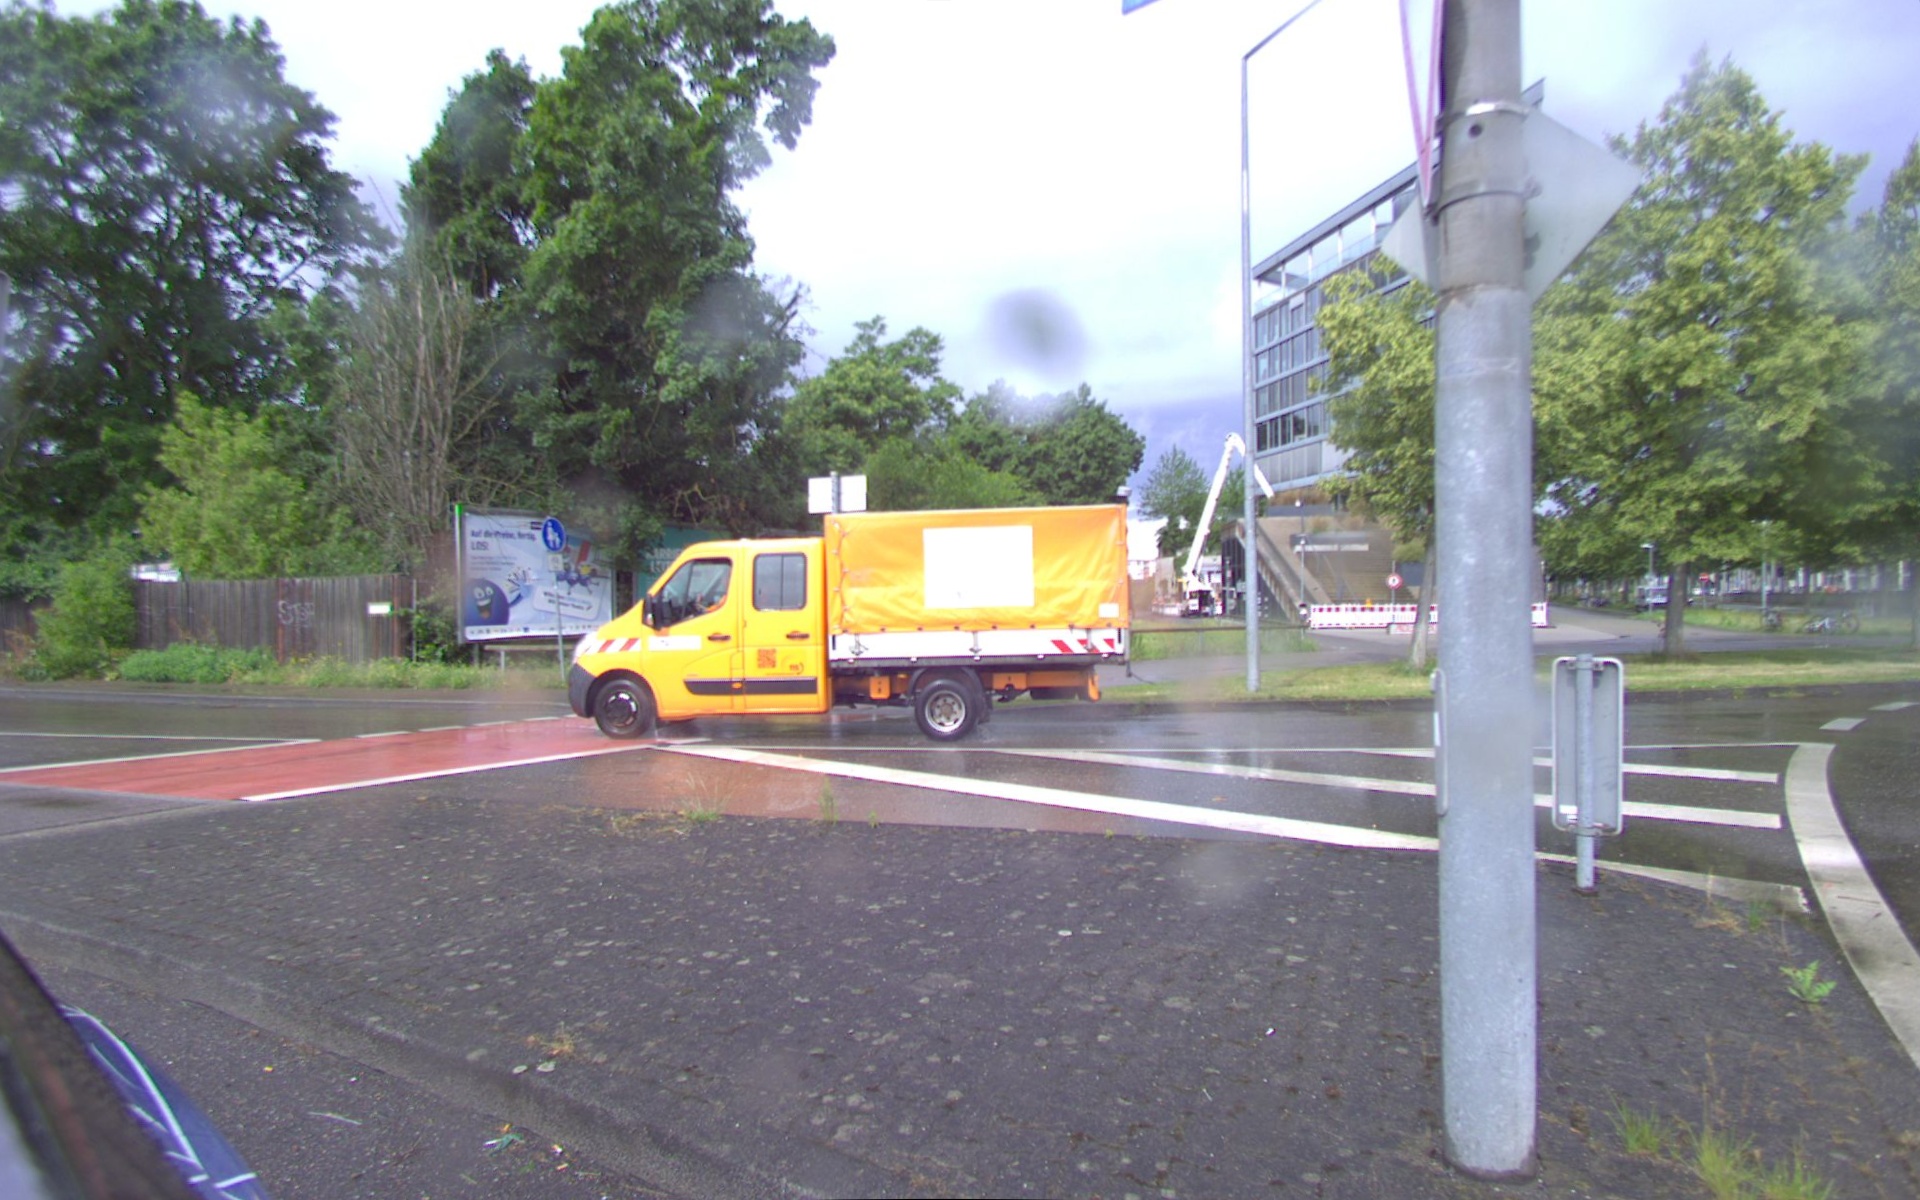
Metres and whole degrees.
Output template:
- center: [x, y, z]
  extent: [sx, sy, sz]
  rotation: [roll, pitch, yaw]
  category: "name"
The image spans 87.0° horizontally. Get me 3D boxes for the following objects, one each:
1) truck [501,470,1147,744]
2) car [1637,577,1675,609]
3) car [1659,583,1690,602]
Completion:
- center: [-1.442, 0.115, 11.891]
  extent: [6.857, 2.747, 2.458]
  rotation: [-1, 0, 5]
  category: "truck"
- center: [54.992, -0.546, 80.020]
  extent: [1.857, 2.377, 4.430]
  rotation: [-1, -2, 27]
  category: "car"
- center: [70.552, -0.687, 99.934]
  extent: [1.857, 1.758, 4.049]
  rotation: [-1, -2, 27]
  category: "car"
